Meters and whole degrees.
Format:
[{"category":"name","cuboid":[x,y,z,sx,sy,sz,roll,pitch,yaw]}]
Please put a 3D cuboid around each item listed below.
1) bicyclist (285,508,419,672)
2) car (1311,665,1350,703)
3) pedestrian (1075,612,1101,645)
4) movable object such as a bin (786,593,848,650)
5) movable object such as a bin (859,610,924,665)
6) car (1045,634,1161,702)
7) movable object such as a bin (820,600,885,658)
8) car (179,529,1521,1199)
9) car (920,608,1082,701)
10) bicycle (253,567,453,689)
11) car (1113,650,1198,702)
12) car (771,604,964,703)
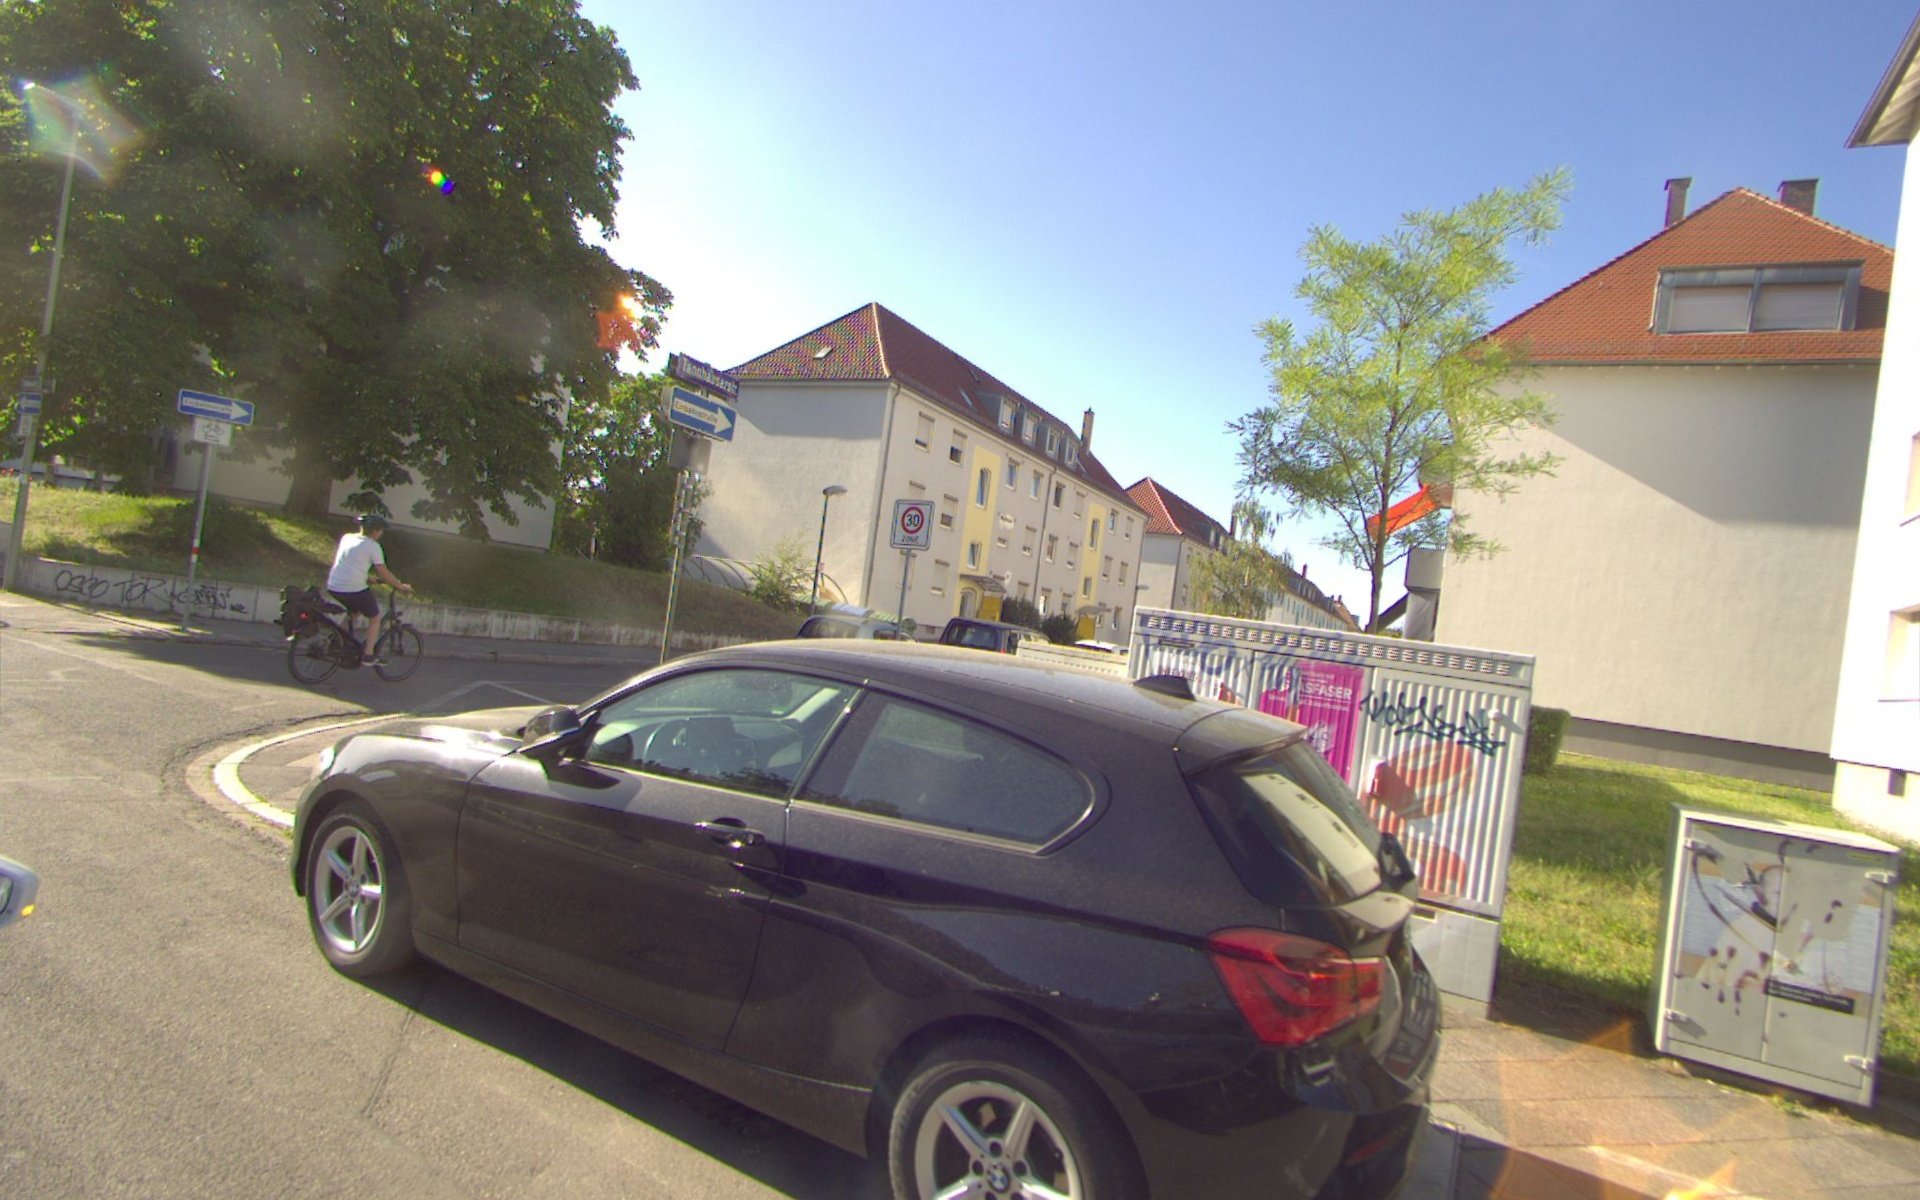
[{"category":"bicyclist","cuboid":[-6.474,-0.081,10.741,0.683,1.615,0.792,7,-1,17]},{"category":"car","cuboid":[24.251,5.497,65.775,1.596,2.168,3.997,7,-1,29]},{"category":"pedestrian","cuboid":[7.319,1.635,57.549,0.957,1.735,0.945,7,0,29]},{"category":"movable object such as a bin","cuboid":[-4.766,0.726,33.583,1.439,1.632,1.190,7,-1,29]},{"category":"movable object such as a bin","cuboid":[-2.194,1.203,32.239,1.471,1.496,1.263,7,-1,29]},{"category":"car","cuboid":[4.281,2.051,29.586,1.955,1.610,4.122,7,-2,28]},{"category":"movable object such as a bin","cuboid":[-3.499,0.949,32.890,1.478,1.642,1.262,7,-1,29]},{"category":"car","cuboid":[-0.574,0.773,3.676,4.422,1.500,1.962,7,0,29]},{"category":"car","cuboid":[1.067,1.333,23.390,1.838,1.750,4.291,7,-1,29]},{"category":"bicycle","cuboid":[-6.496,0.336,10.889,0.650,1.140,1.767,7,-1,17]},{"category":"car","cuboid":[6.746,2.643,34.494,1.732,1.449,3.626,8,-1,28]},{"category":"car","cuboid":[-1.577,1.044,18.588,1.629,1.445,3.898,7,-2,26]}]
